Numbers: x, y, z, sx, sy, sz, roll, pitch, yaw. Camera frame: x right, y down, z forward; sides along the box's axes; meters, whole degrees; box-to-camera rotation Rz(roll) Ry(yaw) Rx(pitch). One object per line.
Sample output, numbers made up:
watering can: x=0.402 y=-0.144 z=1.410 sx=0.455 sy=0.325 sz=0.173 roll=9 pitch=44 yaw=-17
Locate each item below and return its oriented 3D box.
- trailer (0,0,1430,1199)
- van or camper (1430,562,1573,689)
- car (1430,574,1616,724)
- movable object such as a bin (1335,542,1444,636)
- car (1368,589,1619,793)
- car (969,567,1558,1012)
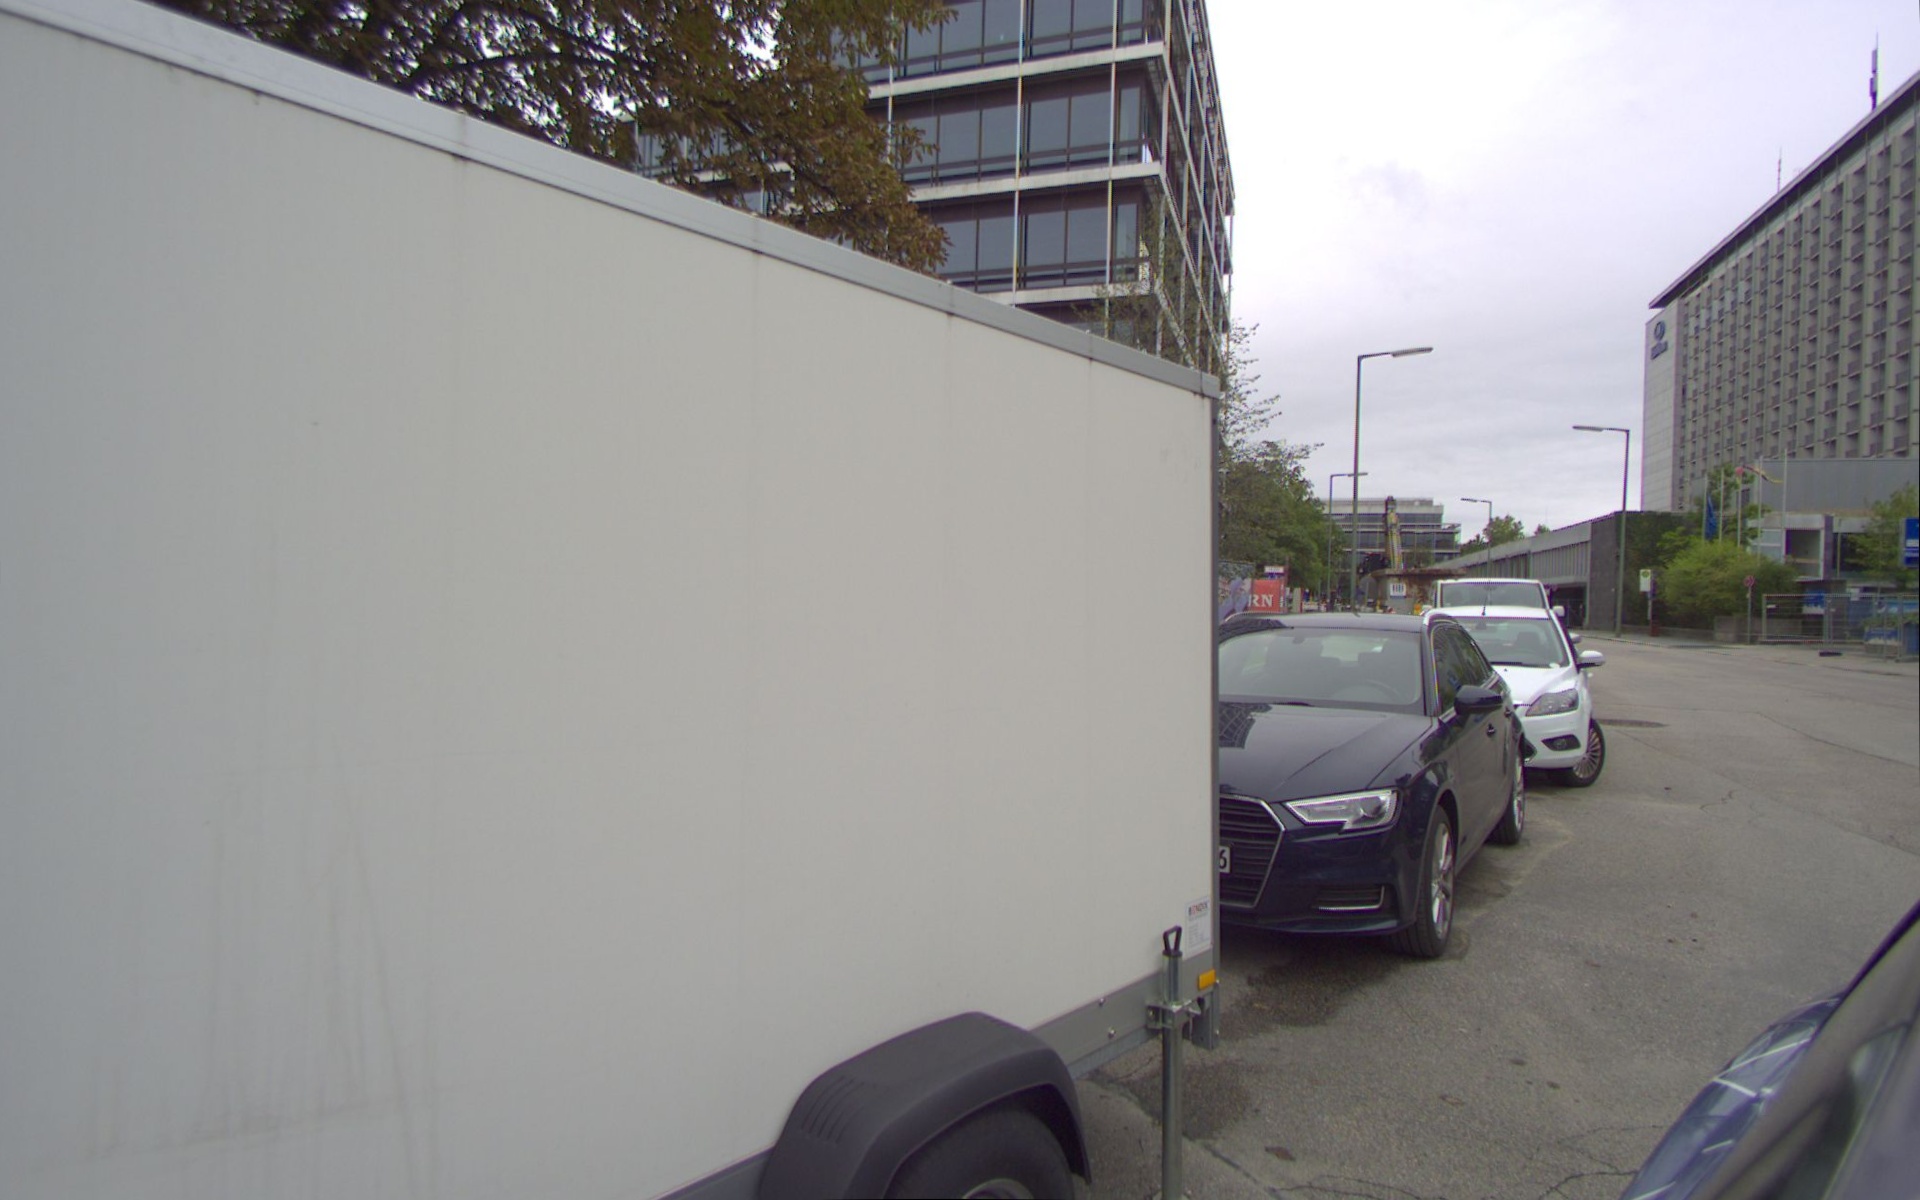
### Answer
trailer: x=-1.172 y=0.186 z=1.565 sx=4.753 sy=2.039 sz=1.811 roll=0 pitch=1 yaw=-44
van or camper: x=10.152 y=0.374 z=19.349 sx=1.979 sy=2.039 sz=5.332 roll=1 pitch=1 yaw=24
car: x=7.855 y=0.552 z=14.482 sx=1.980 sy=1.749 sz=4.410 roll=1 pitch=1 yaw=26
movable object such as a bin: x=19.202 y=-0.532 z=45.852 sx=3.205 sy=3.763 sz=8.967 roll=1 pitch=1 yaw=15
car: x=5.295 y=0.682 z=9.885 sx=1.759 sy=1.504 sz=4.173 roll=2 pitch=1 yaw=31
car: x=2.051 y=0.635 z=5.696 sx=1.867 sy=1.455 sz=4.272 roll=3 pitch=1 yaw=36
